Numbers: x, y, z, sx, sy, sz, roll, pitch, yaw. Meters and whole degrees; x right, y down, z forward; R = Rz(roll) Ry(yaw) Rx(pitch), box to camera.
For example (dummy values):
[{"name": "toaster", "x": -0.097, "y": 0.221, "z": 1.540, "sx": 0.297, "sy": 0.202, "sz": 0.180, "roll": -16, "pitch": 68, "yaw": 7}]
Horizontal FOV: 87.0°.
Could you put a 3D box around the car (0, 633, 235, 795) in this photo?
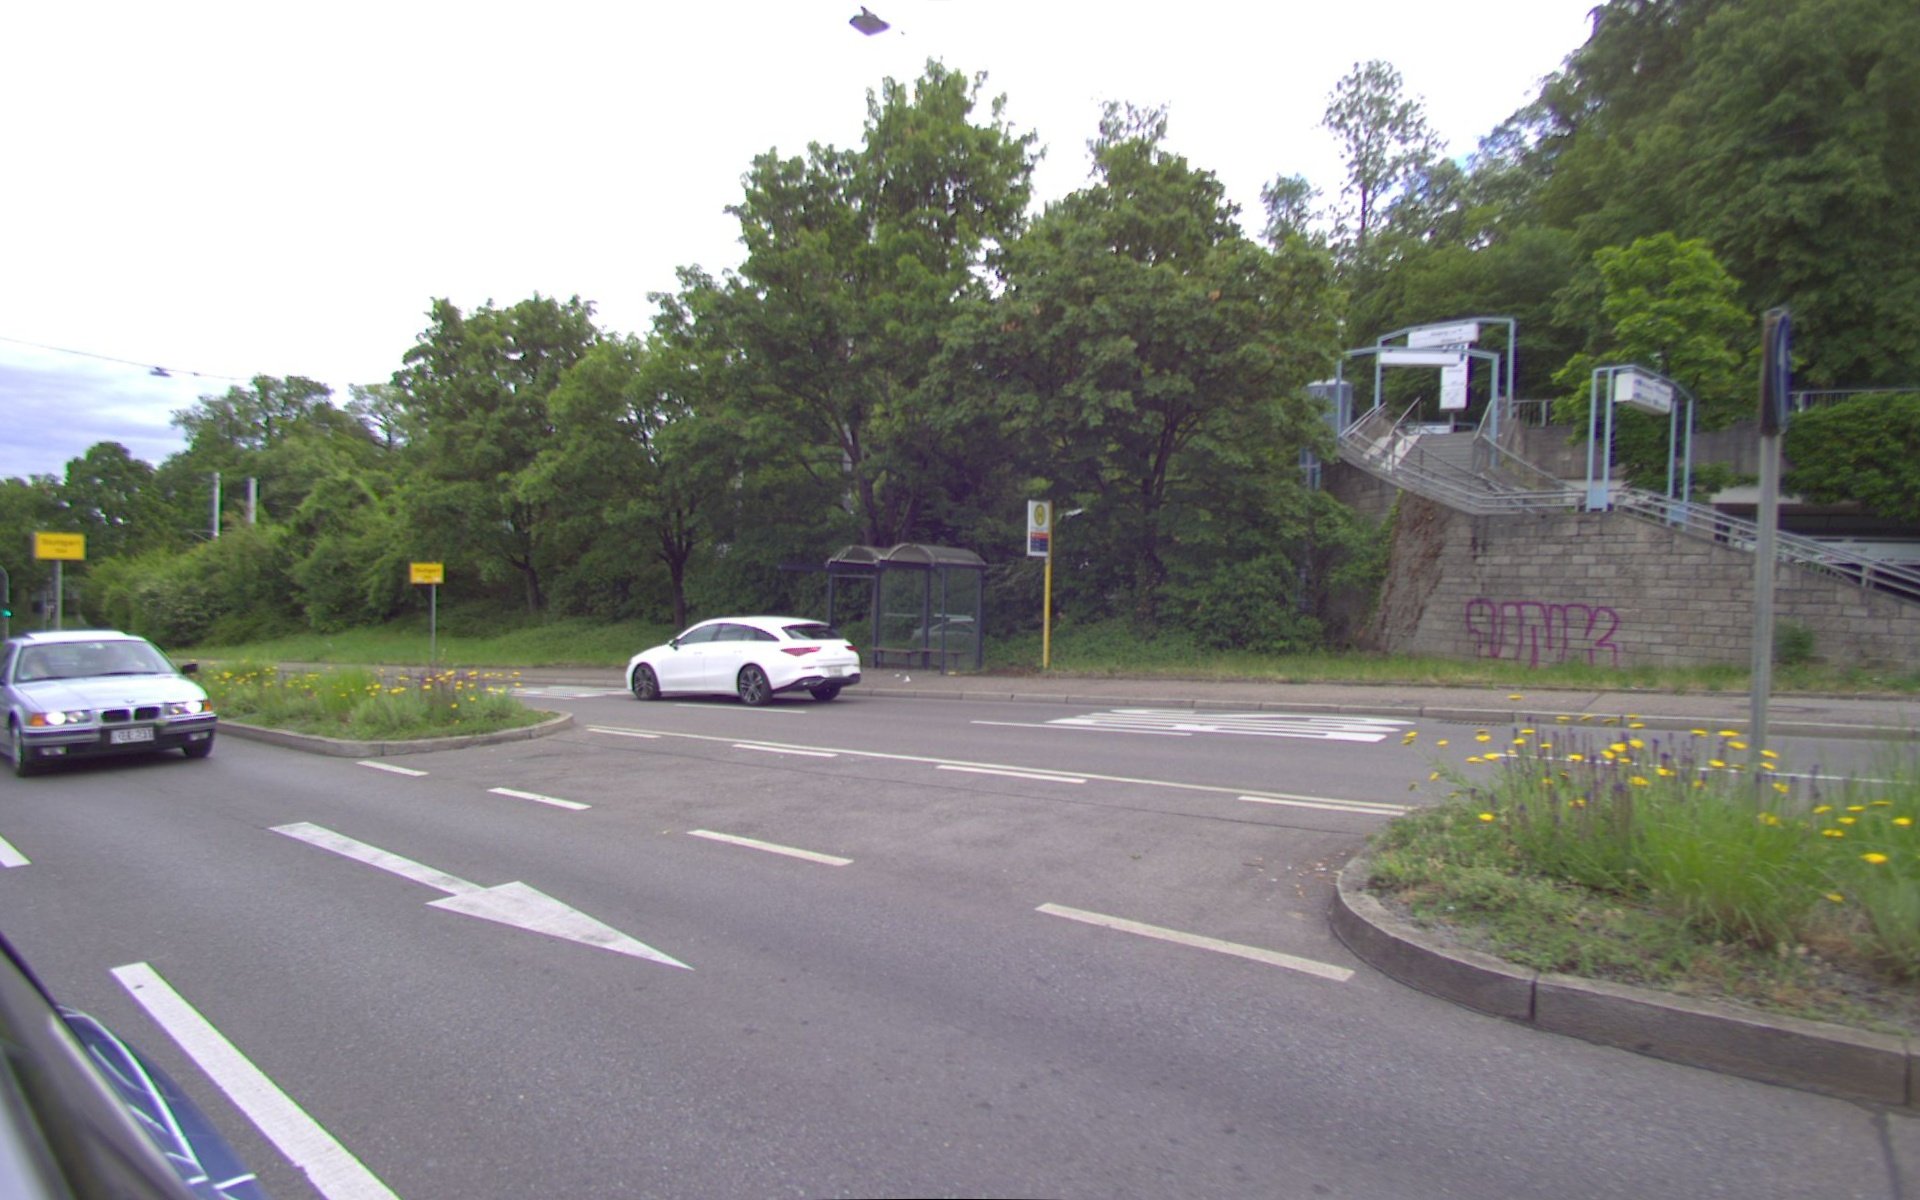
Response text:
[{"name": "car", "x": -9.838, "y": 1.111, "z": 11.376, "sx": 4.613, "sy": 1.404, "sz": 1.734, "roll": -2, "pitch": 0, "yaw": 41}]

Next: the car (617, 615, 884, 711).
[{"name": "car", "x": -3.590, "y": 1.001, "z": 16.944, "sx": 4.598, "sy": 1.404, "sz": 1.703, "roll": -2, "pitch": -1, "yaw": 35}]
